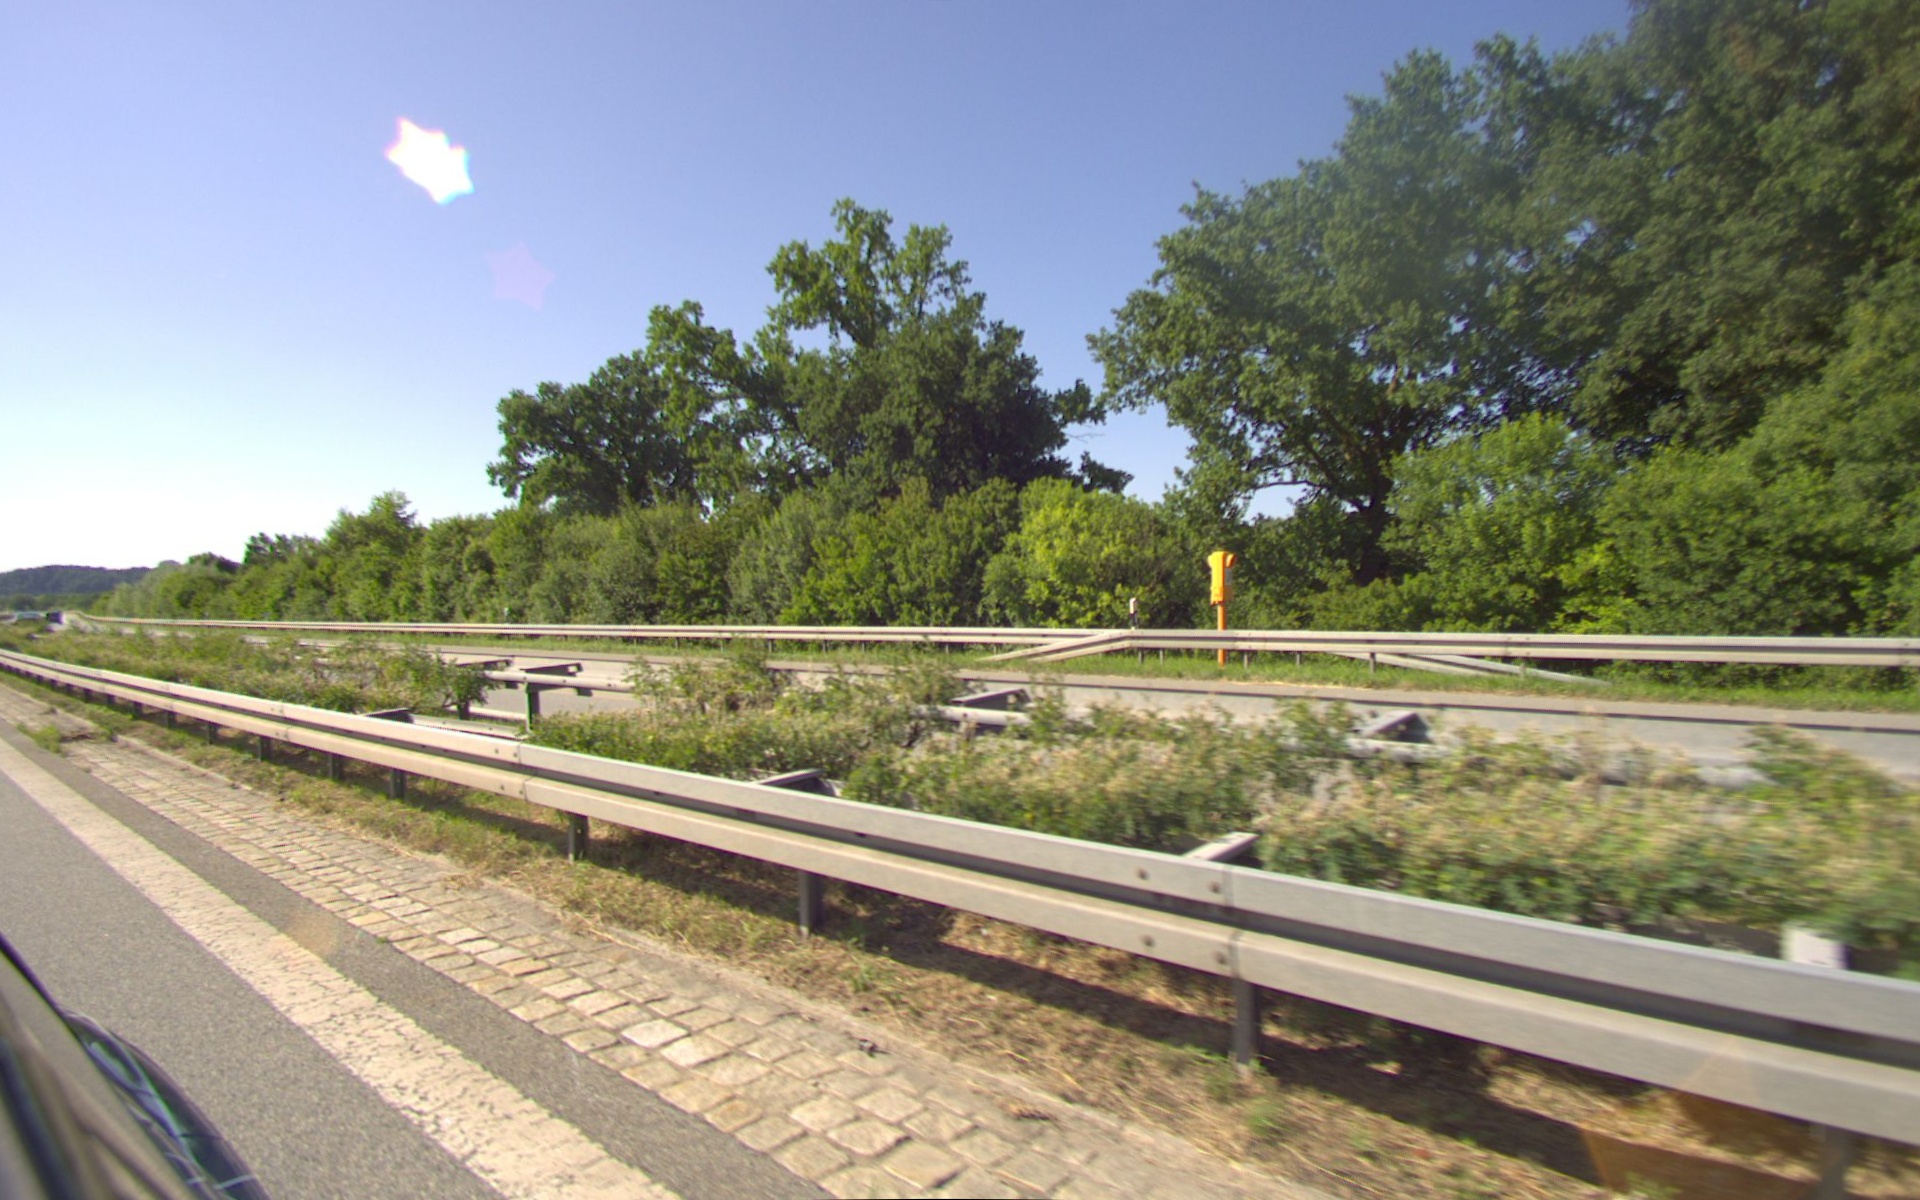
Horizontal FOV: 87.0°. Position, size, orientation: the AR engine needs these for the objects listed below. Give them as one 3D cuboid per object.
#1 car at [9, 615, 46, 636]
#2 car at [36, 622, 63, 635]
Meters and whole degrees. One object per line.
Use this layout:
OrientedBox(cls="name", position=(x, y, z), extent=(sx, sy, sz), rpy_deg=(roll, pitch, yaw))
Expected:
OrientedBox(cls="car", position=(-66.289, 1.772, 71.910), extent=(3.882, 1.439, 1.710), rpy_deg=(-1, -2, 44))
OrientedBox(cls="car", position=(-107.743, 3.392, 119.701), extent=(4.486, 1.443, 1.972), rpy_deg=(-2, -2, 43))
